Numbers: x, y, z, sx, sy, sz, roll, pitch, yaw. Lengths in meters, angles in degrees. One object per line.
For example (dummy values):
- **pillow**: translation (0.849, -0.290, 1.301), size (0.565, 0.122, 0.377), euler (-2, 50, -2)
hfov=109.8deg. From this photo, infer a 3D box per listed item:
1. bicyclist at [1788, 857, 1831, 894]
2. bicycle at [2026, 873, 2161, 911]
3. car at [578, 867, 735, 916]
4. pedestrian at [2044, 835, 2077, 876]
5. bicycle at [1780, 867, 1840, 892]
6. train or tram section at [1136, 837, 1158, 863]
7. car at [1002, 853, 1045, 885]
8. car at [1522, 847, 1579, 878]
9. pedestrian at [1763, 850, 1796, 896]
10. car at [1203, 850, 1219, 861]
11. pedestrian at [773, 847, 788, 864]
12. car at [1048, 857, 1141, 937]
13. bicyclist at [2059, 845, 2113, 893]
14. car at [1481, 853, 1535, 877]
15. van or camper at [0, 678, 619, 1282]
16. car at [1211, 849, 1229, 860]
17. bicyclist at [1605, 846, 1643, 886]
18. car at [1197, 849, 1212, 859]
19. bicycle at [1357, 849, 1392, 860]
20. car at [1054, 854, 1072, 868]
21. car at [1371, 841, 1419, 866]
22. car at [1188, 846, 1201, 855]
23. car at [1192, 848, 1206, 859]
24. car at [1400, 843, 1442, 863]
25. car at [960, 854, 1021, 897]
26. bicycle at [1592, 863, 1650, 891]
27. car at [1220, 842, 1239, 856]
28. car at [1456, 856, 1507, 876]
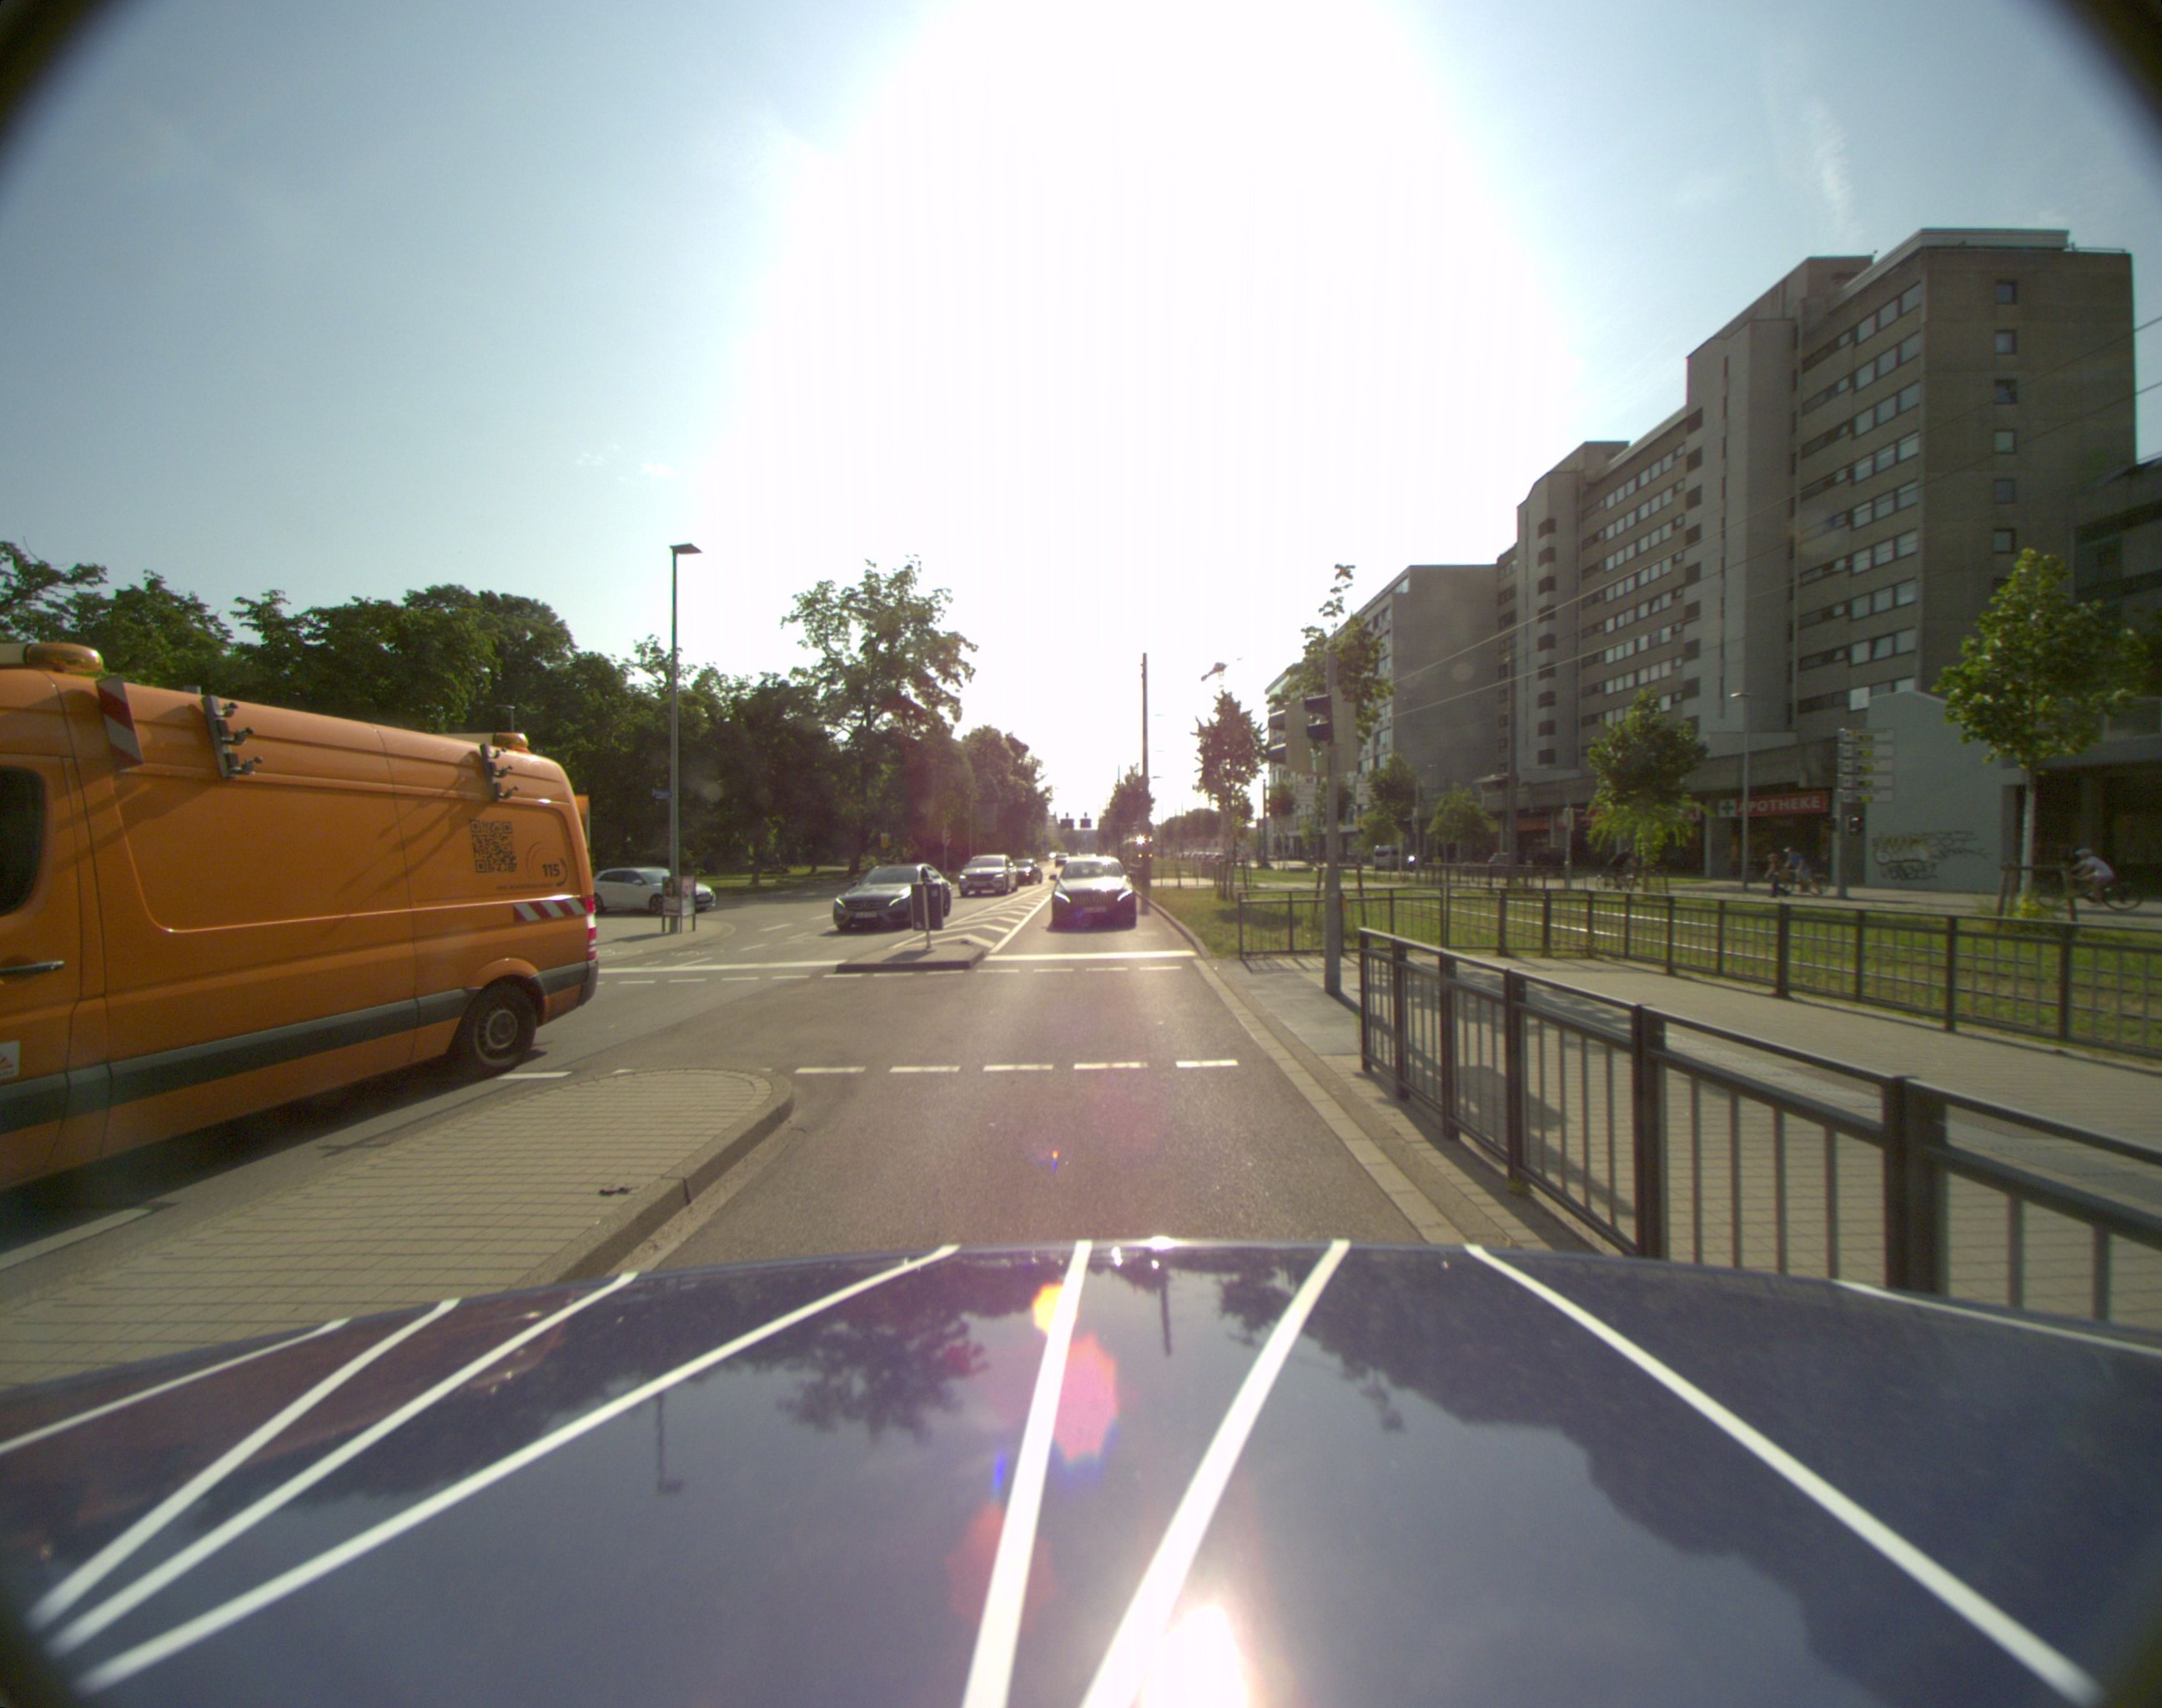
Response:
- **bicyclist**: translation (28.865, 0.834, 30.102), size (1.023, 1.432, 0.685), euler (0, 1, 2)
- **bicycle**: translation (29.769, 1.083, 22.415), size (0.709, 0.993, 2.340), euler (-1, 1, -40)
- **car**: translation (-13.556, 1.154, 24.340), size (4.273, 1.398, 2.003), euler (0, 1, 18)
- **pedestrian**: translation (42.441, 0.054, 32.937), size (0.699, 1.766, 0.624), euler (0, 1, -12)
- **bicycle**: translation (28.846, 1.005, 30.089), size (1.666, 0.985, 0.685), euler (0, 1, 2)
- **train or tram section**: translation (8.843, -0.503, 102.135), size (2.500, 3.409, 6.669), euler (0, 0, 1)
- **car**: translation (-3.074, 0.761, 41.547), size (1.998, 1.630, 4.000), euler (0, 1, 1)
- **car**: translation (30.545, 0.499, 49.376), size (4.119, 1.957, 1.874), euler (-1, 1, -39)
- **pedestrian**: translation (26.330, 0.708, 28.654), size (0.660, 1.681, 0.645), euler (0, 1, 3)
- **car**: translation (18.372, 0.248, 107.574), size (1.745, 1.478, 3.641), euler (0, 1, 3)
- **pedestrian**: translation (-31.374, 0.158, 79.380), size (0.983, 1.820, 1.072), euler (0, 1, 31)
- **car**: translation (0.310, 0.841, 17.050), size (1.759, 1.437, 4.617), euler (-2, 0, 1)
- **bicyclist**: translation (29.743, 0.449, 22.495), size (0.705, 1.377, 0.911), euler (2, 0, -40)
- **car**: translation (29.749, 0.720, 52.841), size (4.119, 1.597, 1.874), euler (-1, 1, -39)
- **van or camper**: translation (-5.378, 0.533, 3.949), size (1.991, 2.457, 6.062), euler (-2, 0, 2)
- **car**: translation (18.240, 0.056, 99.662), size (1.811, 1.472, 4.000), euler (0, 1, 3)
- **bicyclist**: translation (19.700, 0.442, 27.576), size (0.971, 1.387, 0.547), euler (3, 0, 21)
- **car**: translation (18.518, -0.023, 113.954), size (1.811, 1.565, 4.000), euler (0, 1, 3)
- **bicycle**: translation (37.550, 0.030, 97.295), size (3.994, 1.358, 1.127), euler (0, 1, 10)
- **car**: translation (-2.085, 0.743, 88.807), size (1.904, 1.584, 4.000), euler (0, 0, 1)
- **car**: translation (30.140, -0.066, 72.803), size (5.419, 2.295, 1.879), euler (-1, 1, -40)
- **car**: translation (18.904, -0.509, 126.384), size (1.811, 1.466, 4.000), euler (0, 1, 3)
- **car**: translation (18.528, -0.094, 119.432), size (1.811, 1.565, 4.000), euler (0, 1, 3)
- **car**: translation (29.690, -0.087, 66.277), size (2.097, 1.573, 4.008), euler (-3, 0, 44)
- **car**: translation (-3.618, 0.809, 31.106), size (1.897, 1.561, 4.250), euler (-2, 1, 1)
- **bicycle**: translation (19.592, 0.831, 27.607), size (1.609, 0.929, 0.558), euler (3, 0, 21)
- **car**: translation (24.662, -0.878, 126.126), size (2.051, 2.225, 5.334), euler (0, 0, -1)
- **car**: translation (29.750, 0.878, 56.425), size (4.119, 1.237, 1.874), euler (-3, 1, -39)
